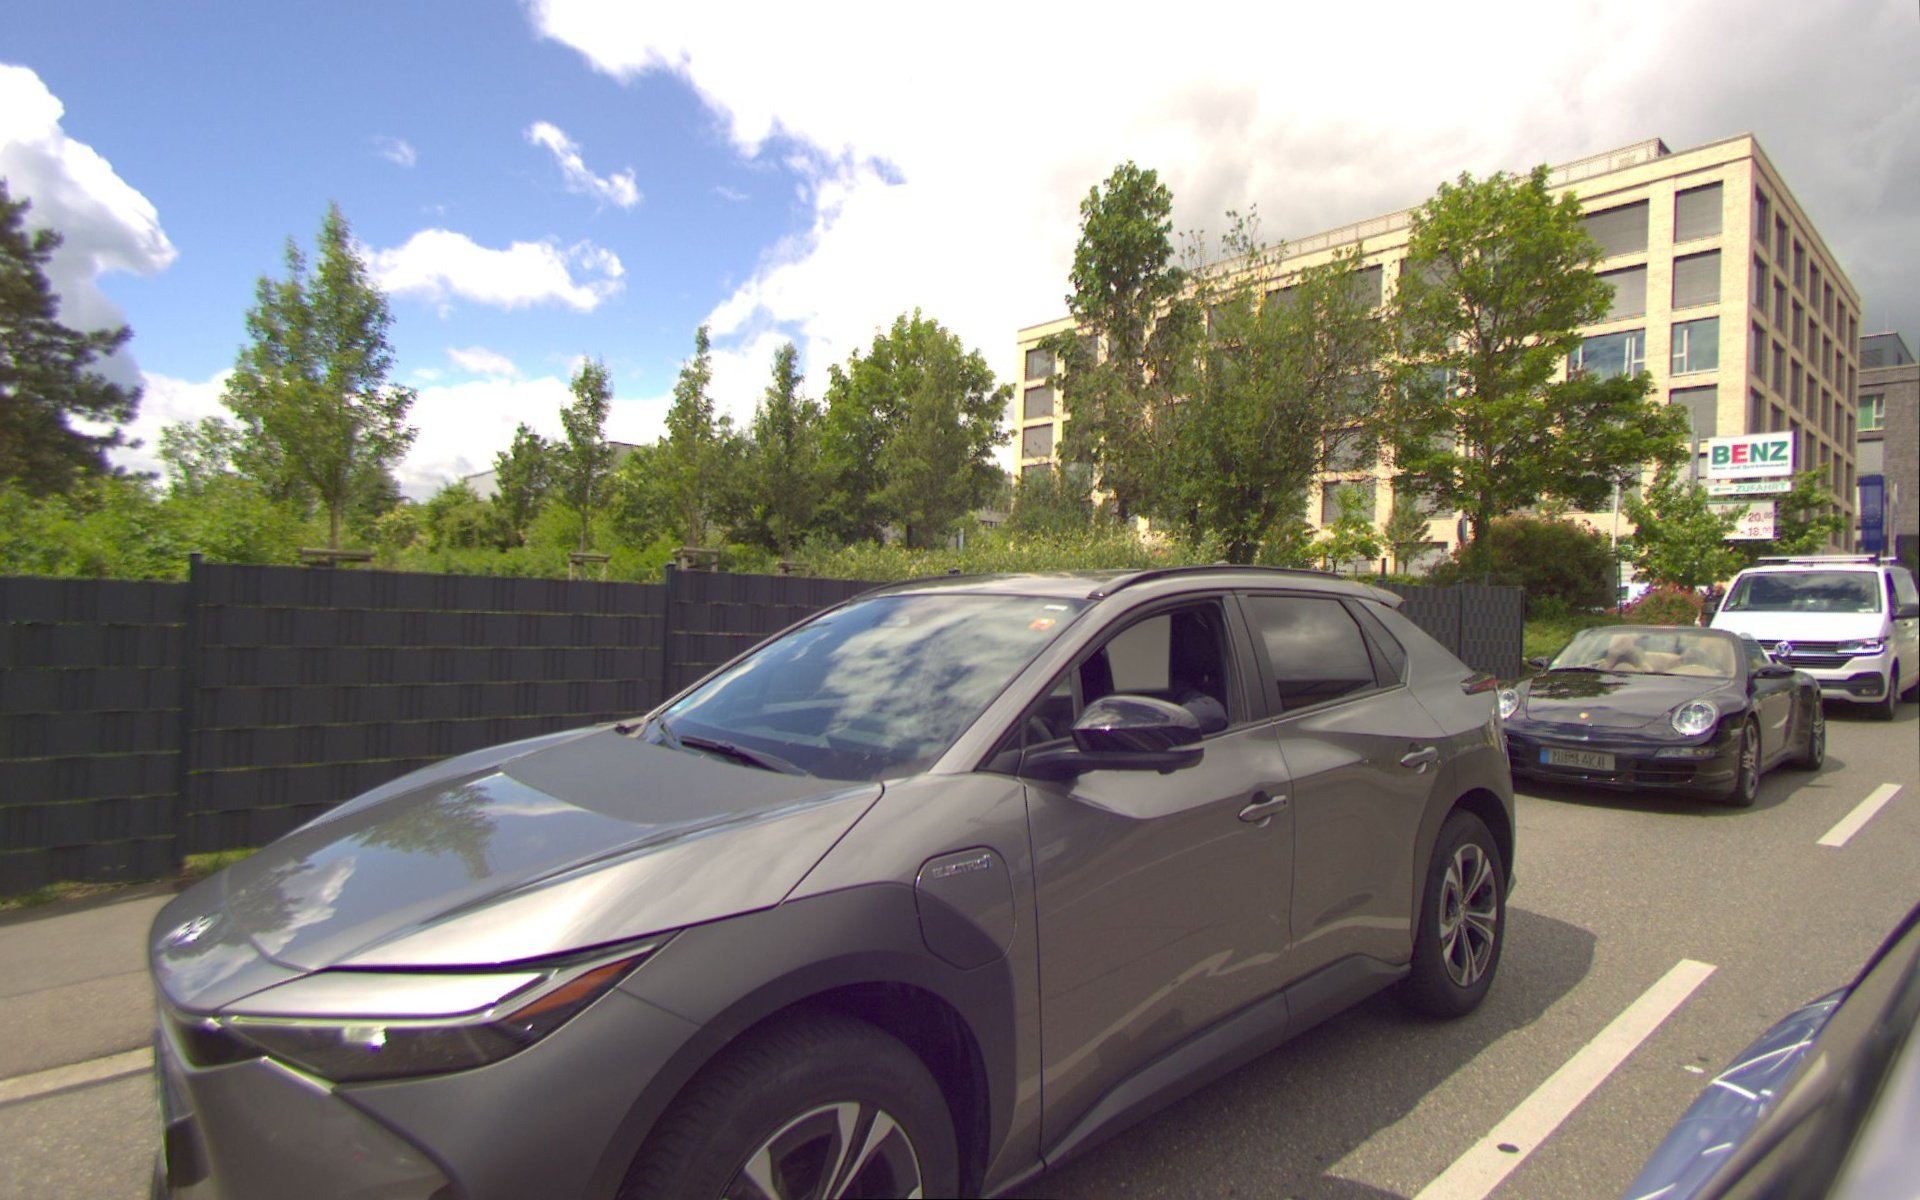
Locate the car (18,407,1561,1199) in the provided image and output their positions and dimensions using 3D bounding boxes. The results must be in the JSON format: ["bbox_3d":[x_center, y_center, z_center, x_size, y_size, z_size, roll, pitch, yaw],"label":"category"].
[{"bbox_3d":[0.059,0.582,3.300,4.501,1.649,1.997,-1,1,-42],"label":"car"}]

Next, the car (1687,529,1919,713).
[{"bbox_3d":[11.822,0.207,13.787,4.677,2.075,2.087,-1,0,-41],"label":"car"}]

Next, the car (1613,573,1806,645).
[{"bbox_3d":[20.422,0.179,27.675,1.793,1.754,3.991,-1,2,-44],"label":"car"}]

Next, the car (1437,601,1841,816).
[{"bbox_3d":[5.777,0.689,8.426,3.968,1.310,1.823,-1,1,-41],"label":"car"}]

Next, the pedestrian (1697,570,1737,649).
[{"bbox_3d":[16.884,0.194,22.579,0.544,1.741,0.602,0,1,-40],"label":"pedestrian"}]

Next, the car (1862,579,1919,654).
[{"bbox_3d":[20.725,0.318,21.512,3.930,1.481,1.817,-1,2,-41],"label":"car"}]
